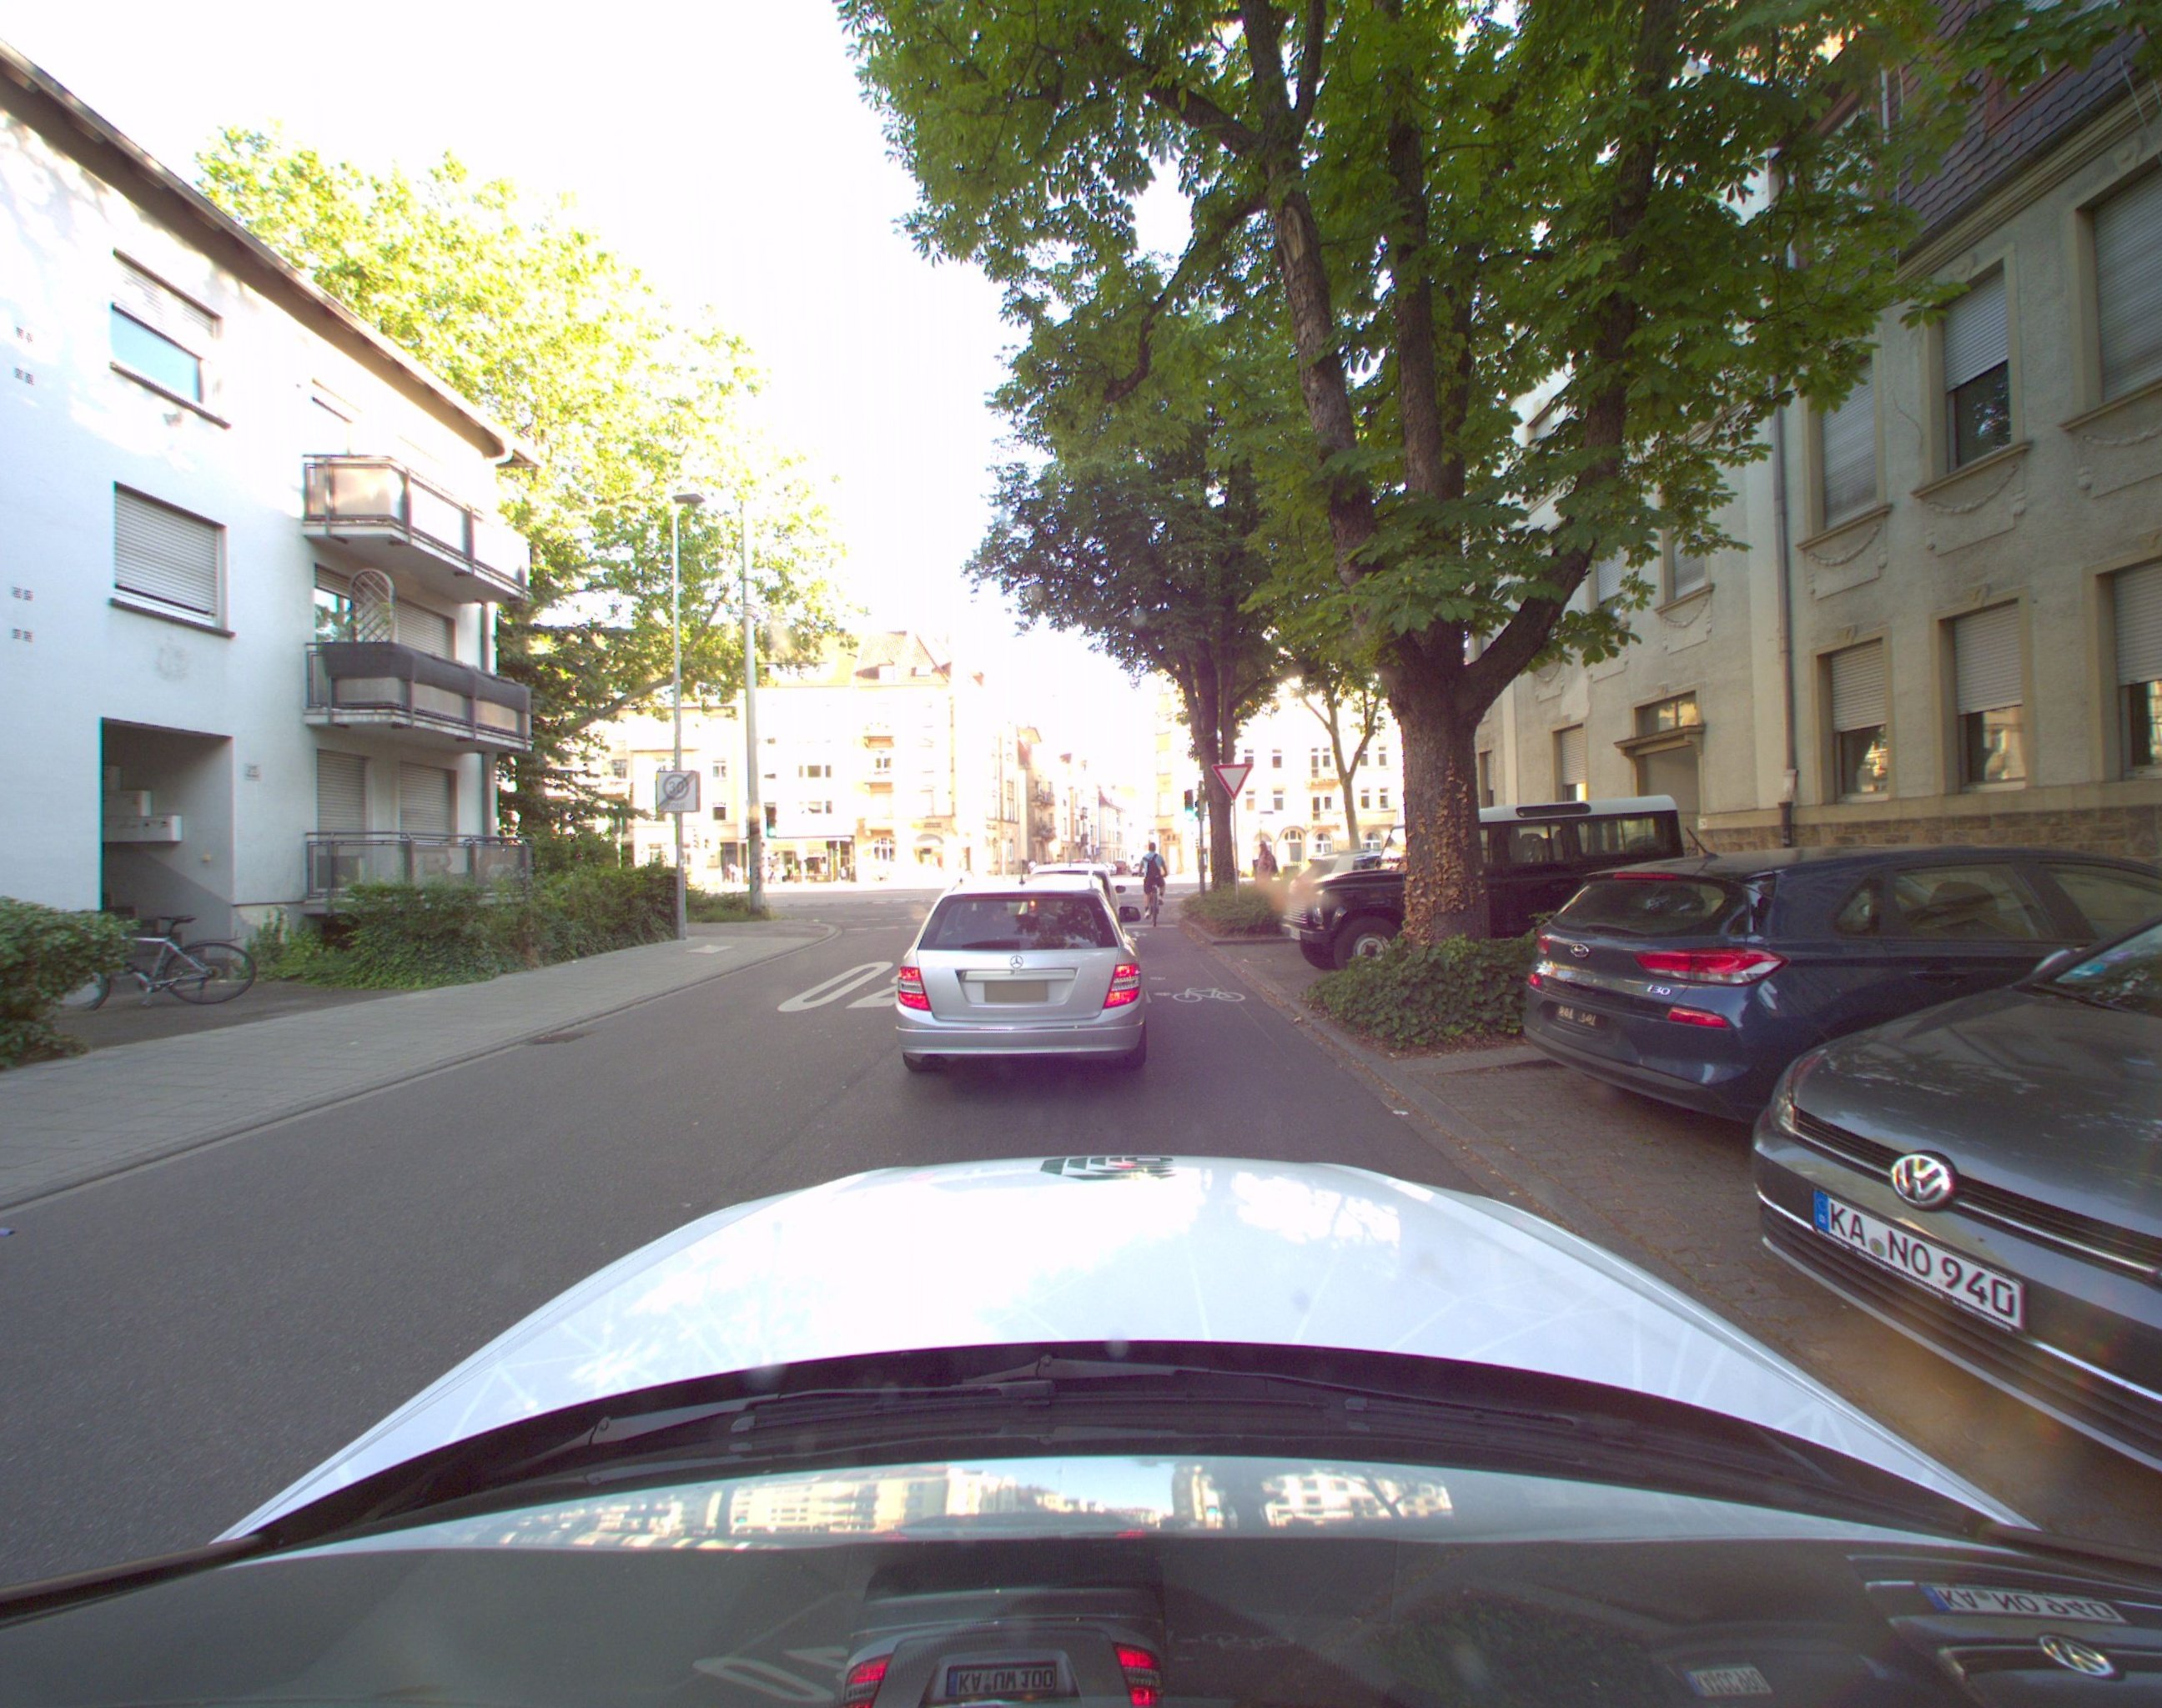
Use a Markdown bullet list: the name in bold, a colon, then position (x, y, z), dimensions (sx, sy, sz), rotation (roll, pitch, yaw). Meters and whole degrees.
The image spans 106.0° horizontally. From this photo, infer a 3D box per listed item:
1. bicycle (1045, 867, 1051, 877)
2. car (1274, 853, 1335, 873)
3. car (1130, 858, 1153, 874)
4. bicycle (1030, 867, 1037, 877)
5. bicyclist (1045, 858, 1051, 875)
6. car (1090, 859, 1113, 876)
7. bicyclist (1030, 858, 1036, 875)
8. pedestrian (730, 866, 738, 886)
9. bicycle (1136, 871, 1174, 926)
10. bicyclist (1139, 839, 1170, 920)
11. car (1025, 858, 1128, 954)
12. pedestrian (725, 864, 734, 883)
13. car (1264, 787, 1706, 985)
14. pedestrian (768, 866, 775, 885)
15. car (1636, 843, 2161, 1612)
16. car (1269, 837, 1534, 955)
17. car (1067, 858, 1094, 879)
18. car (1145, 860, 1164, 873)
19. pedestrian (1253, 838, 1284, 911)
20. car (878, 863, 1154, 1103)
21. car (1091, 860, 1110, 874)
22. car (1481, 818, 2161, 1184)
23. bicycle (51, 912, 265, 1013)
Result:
- **bicycle**: position (-2.946, 1.567, 72.707), dimensions (0.567, 0.834, 1.565), rotation (-1, 0, -1)
- **car**: position (13.486, 0.536, 49.218), dimensions (3.352, 1.069, 1.380), rotation (-1, 0, 0)
- **car**: position (6.373, 1.271, 85.656), dimensions (1.708, 1.478, 4.016), rotation (-3, 0, 14)
- **bicycle**: position (-4.234, 1.602, 72.287), dimensions (0.567, 0.834, 1.565), rotation (-1, 0, -1)
- **bicyclist**: position (-2.970, 1.101, 72.708), dimensions (0.465, 1.521, 0.693), rotation (-1, 0, -2)
- **car**: position (2.297, 1.456, 89.117), dimensions (1.675, 1.722, 4.014), rotation (-2, 0, 13)
- **bicyclist**: position (-4.239, 1.124, 72.432), dimensions (0.465, 1.514, 0.655), rotation (-1, 0, -2)
- **pedestrian**: position (-27.352, 1.725, 64.247), dimensions (0.510, 1.511, 0.533), rotation (-1, -1, -22)
- **bicycle**: position (1.646, 0.975, 18.396), dimensions (0.739, 1.118, 2.014), rotation (0, 0, 2)
- **bicyclist**: position (1.647, 0.563, 18.395), dimensions (0.644, 1.775, 0.831), rotation (0, -1, 2)
- **car**: position (-0.051, 0.791, 14.001), dimensions (1.528, 1.391, 3.599), rotation (-1, 0, 0)
- **pedestrian**: position (-27.708, 1.536, 64.167), dimensions (0.566, 1.511, 0.499), rotation (-1, -1, -17)
- **car**: position (4.741, 0.356, 10.022), dimensions (4.478, 1.956, 1.792), rotation (-3, 0, -1)
- **pedestrian**: position (-24.637, 1.694, 64.843), dimensions (0.474, 1.511, 0.428), rotation (-1, -1, -18)
- **car**: position (4.055, 0.650, 2.154), dimensions (4.037, 1.422, 1.627), rotation (-3, -1, -2)
- **car**: position (4.972, 0.618, 12.912), dimensions (3.475, 1.586, 1.708), rotation (-3, 0, -5)
- **car**: position (-0.023, 1.419, 79.780), dimensions (1.926, 1.958, 4.161), rotation (-2, 0, 10)
- **car**: position (9.214, 1.555, 101.976), dimensions (1.709, 1.478, 4.016), rotation (-6, -1, 14)
- **pedestrian**: position (4.885, 0.531, 21.228), dimensions (0.630, 1.845, 0.574), rotation (-1, 0, -2)
- **car**: position (-0.415, 0.810, 6.742), dimensions (1.685, 1.429, 3.491), rotation (0, 0, -1)
- **car**: position (2.441, 1.623, 102.405), dimensions (1.639, 1.783, 3.876), rotation (-1, -1, 13)
- **car**: position (4.427, 0.603, 4.347), dimensions (3.739, 1.422, 1.627), rotation (-3, -1, -2)
- **bicycle**: position (-10.026, 1.146, 8.917), dimensions (1.469, 0.975, 0.402), rotation (2, -2, -38)
